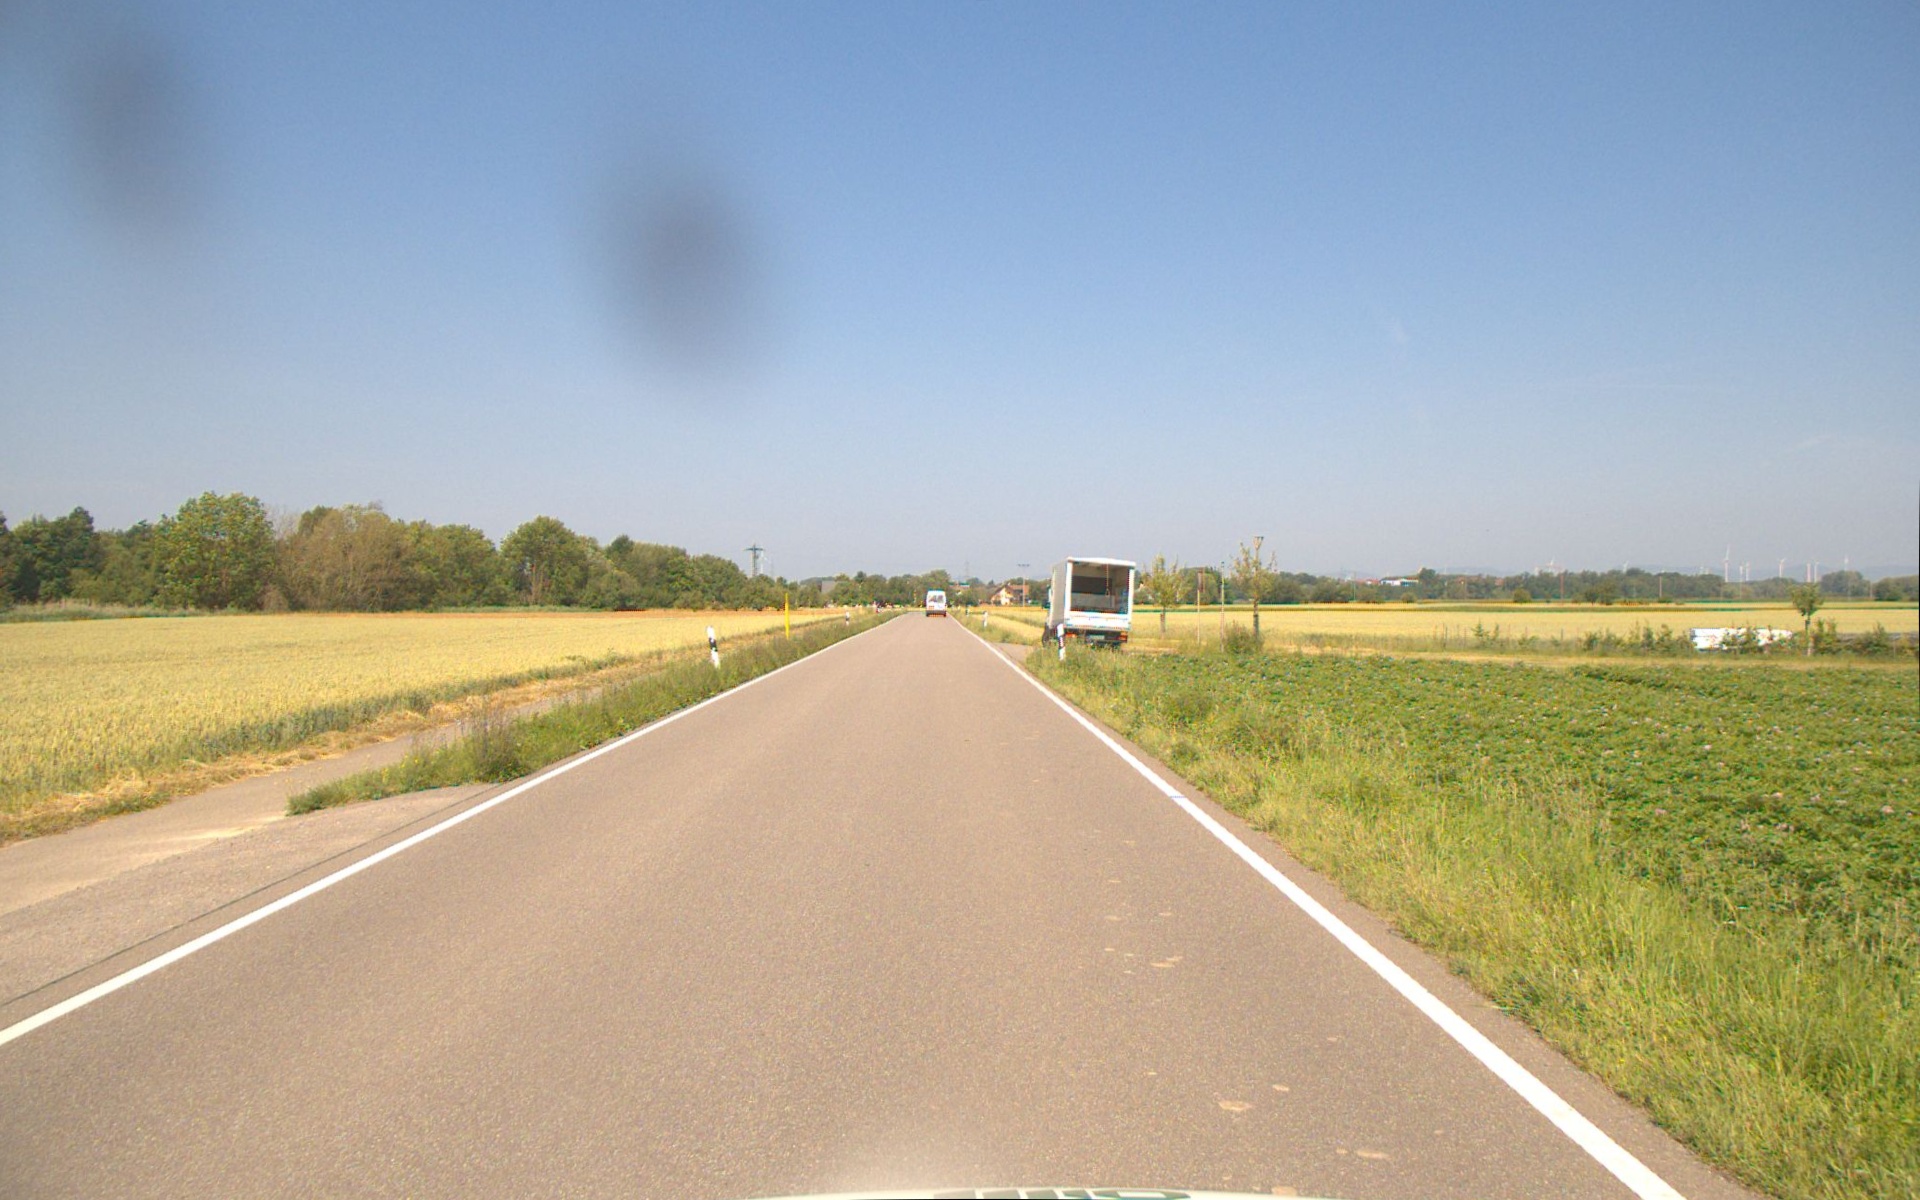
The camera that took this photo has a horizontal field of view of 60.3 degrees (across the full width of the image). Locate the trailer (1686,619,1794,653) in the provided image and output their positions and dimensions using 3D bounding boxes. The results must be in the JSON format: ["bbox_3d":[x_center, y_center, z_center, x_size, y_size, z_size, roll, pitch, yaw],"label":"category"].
[{"bbox_3d":[30.484,1.405,64.718,3.509,1.210,1.665,2,0,11],"label":"trailer"}]

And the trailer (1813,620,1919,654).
[{"bbox_3d":[35.039,1.428,63.769,3.462,1.210,1.665,1,-1,11],"label":"trailer"}]

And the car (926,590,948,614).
[{"bbox_3d":[-2.281,0.215,163.562,2.064,2.344,5.494,2,0,-1],"label":"car"}]

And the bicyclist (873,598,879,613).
[{"bbox_3d":[-10.325,0.680,203.074,0.744,1.702,1.088,-2,0,-1],"label":"bicyclist"}]

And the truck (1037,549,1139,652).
[{"bbox_3d":[4.043,0.034,53.676,2.289,2.994,7.004,3,0,-3],"label":"truck"}]

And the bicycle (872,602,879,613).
[{"bbox_3d":[-10.322,0.914,203.024,0.744,1.257,2.393,-2,0,-1],"label":"bicycle"}]
